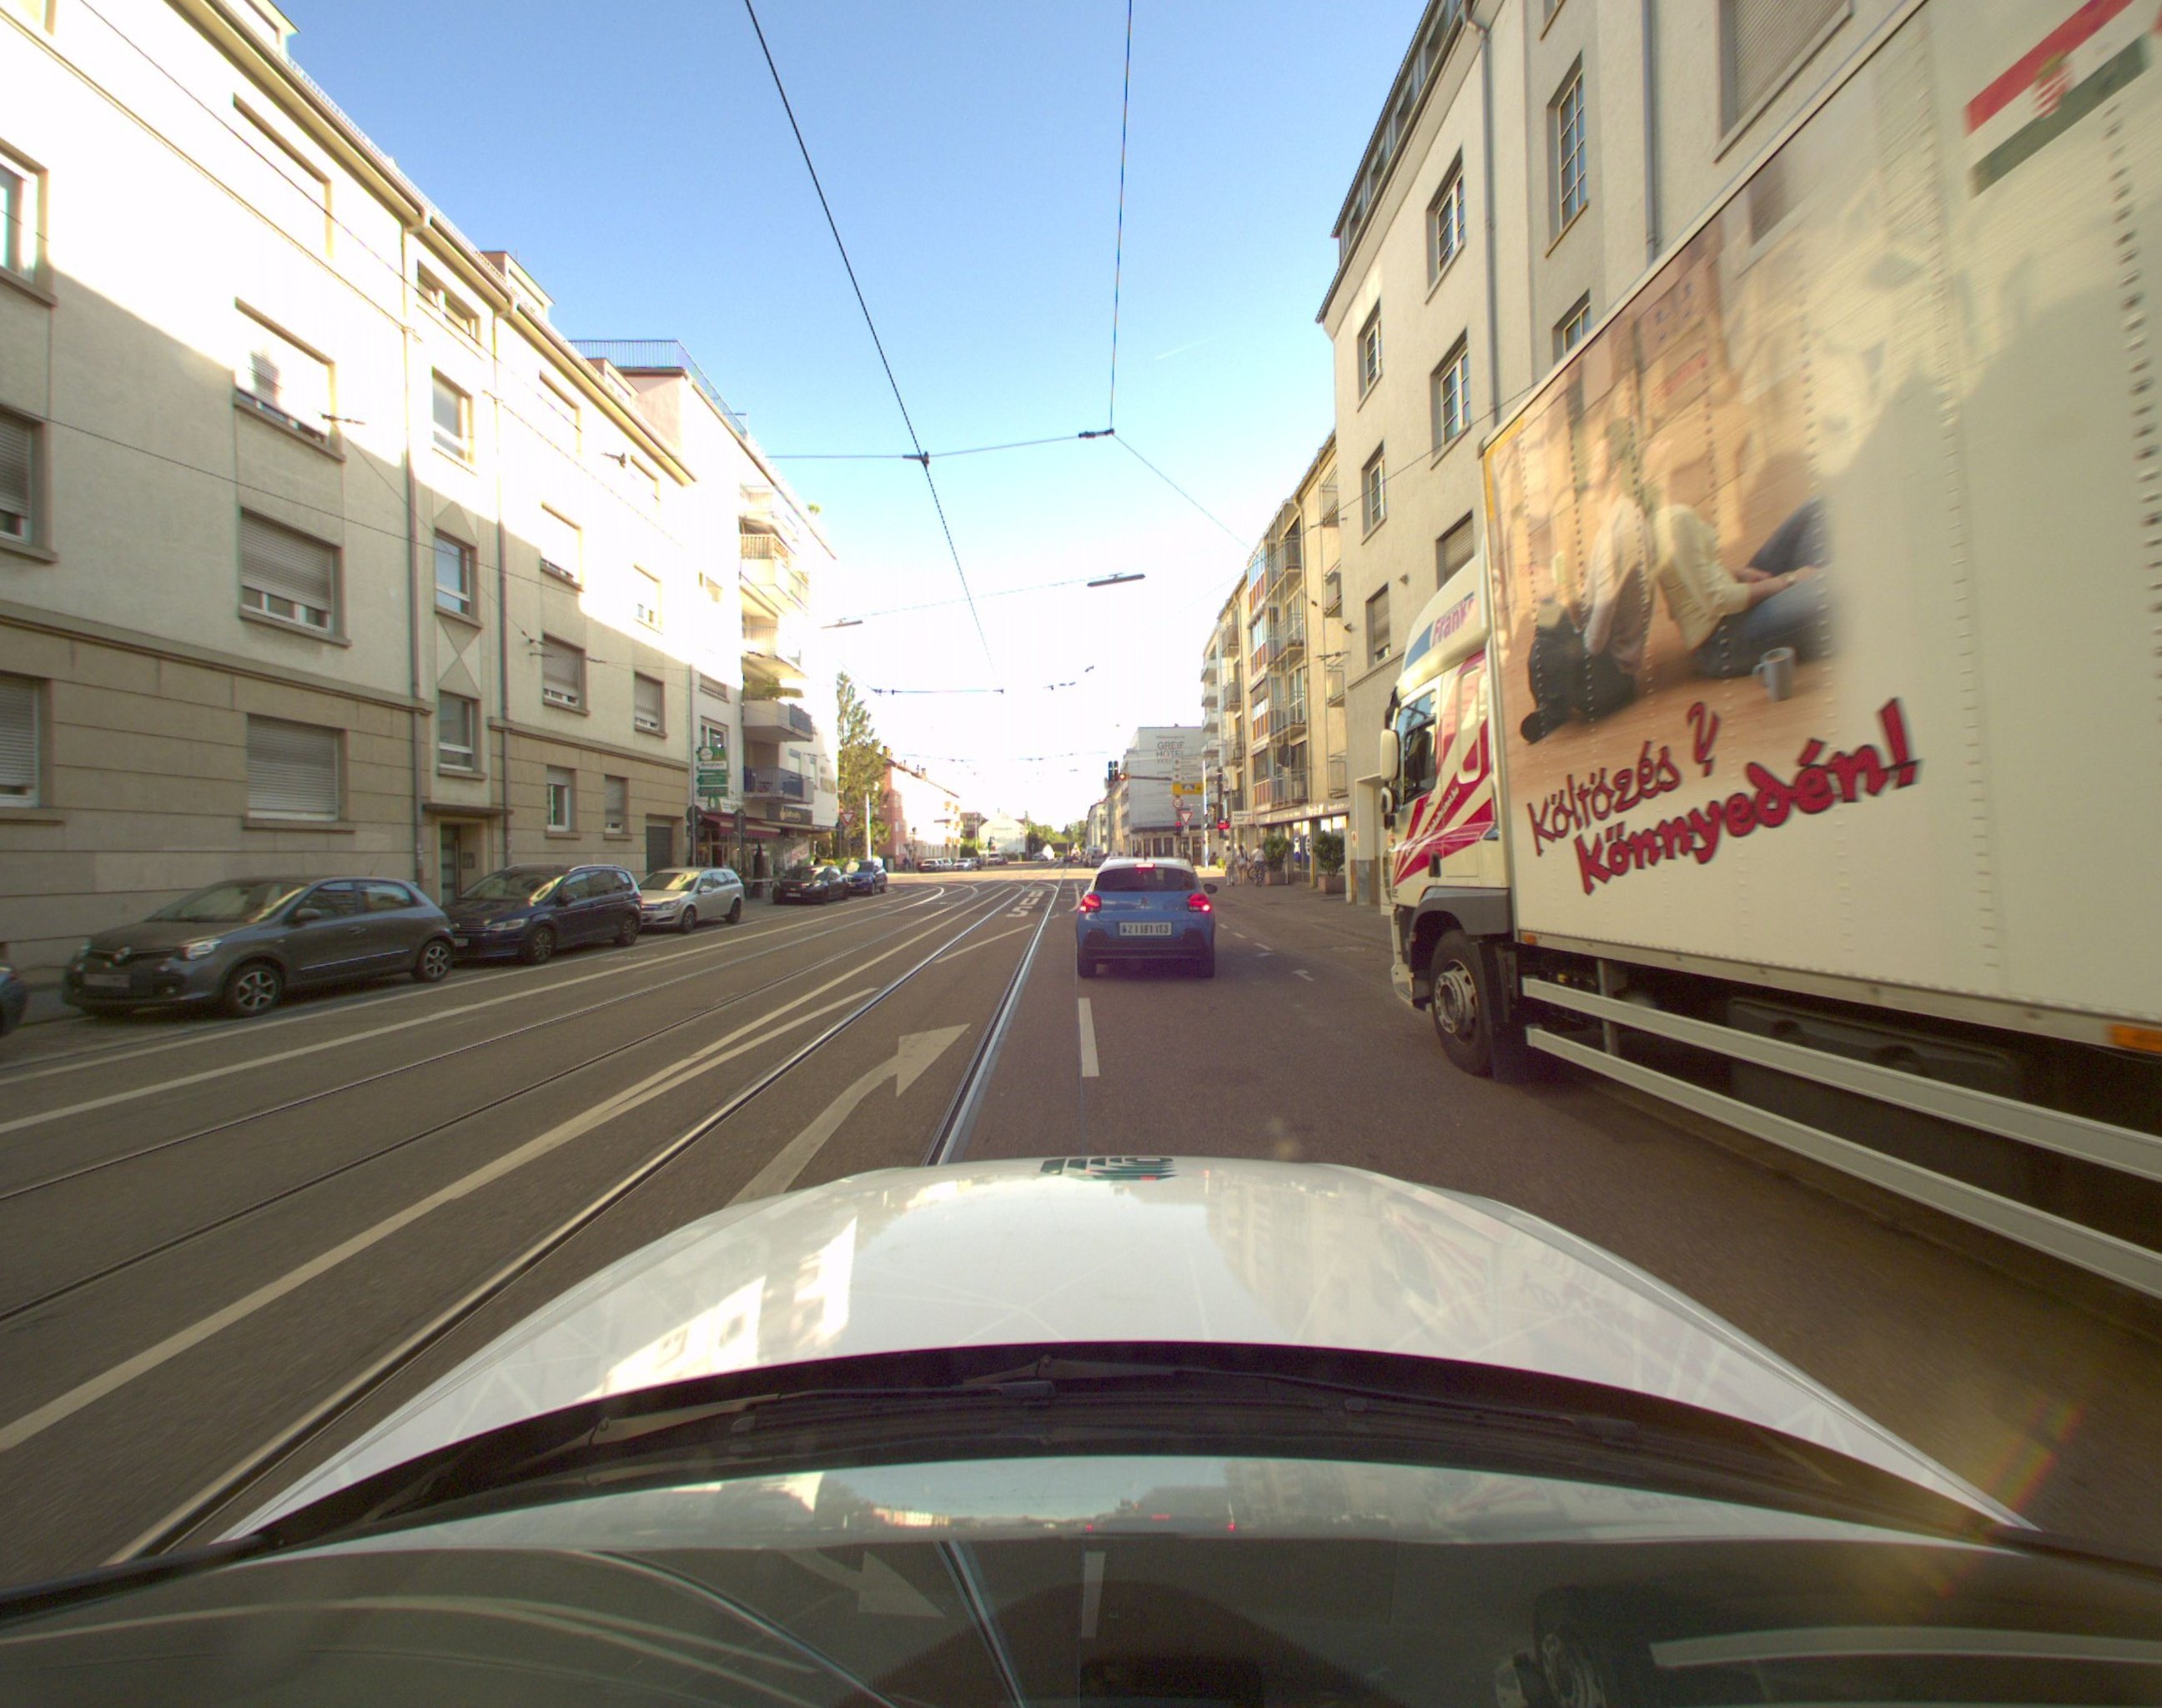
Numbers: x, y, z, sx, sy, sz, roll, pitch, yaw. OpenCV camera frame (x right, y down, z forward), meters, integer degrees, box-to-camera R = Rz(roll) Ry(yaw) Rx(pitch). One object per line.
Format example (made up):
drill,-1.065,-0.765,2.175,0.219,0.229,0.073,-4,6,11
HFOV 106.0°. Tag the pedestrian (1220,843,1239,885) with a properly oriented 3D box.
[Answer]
pedestrian,6.001,0.401,32.926,0.539,1.672,0.624,-3,1,0

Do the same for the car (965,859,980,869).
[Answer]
car,-16.963,1.519,127.440,1.906,1.497,3.997,-2,0,-2

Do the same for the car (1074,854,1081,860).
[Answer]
car,-1.167,0.844,256.743,1.986,1.794,4.003,-1,0,2

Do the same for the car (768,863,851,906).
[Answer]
car,-10.132,1.103,30.743,1.694,1.509,4.311,0,-1,0

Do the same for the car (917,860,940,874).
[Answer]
car,-16.822,1.442,90.139,1.907,1.433,3.996,-2,0,-3

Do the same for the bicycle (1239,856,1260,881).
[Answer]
bicycle,7.521,0.622,36.369,0.528,1.072,1.810,-2,0,-1

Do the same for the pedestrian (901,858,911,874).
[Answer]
pedestrian,-18.965,1.263,88.157,0.839,1.690,0.738,-1,0,5

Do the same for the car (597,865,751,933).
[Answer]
car,-9.964,1.029,20.358,1.694,1.509,4.384,0,-1,-1

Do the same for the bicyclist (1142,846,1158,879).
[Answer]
bicyclist,3.454,0.424,40.687,0.723,1.646,0.790,-2,0,2

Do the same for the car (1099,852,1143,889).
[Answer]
car,1.665,0.654,34.098,1.731,1.420,4.003,-1,0,2

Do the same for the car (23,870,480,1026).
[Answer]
car,-9.995,1.005,10.375,1.694,1.569,3.999,0,-1,0

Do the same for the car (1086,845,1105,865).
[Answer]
car,1.659,0.128,93.094,1.987,2.325,3.998,0,0,-1

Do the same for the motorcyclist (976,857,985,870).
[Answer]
motorcyclist,-10.903,1.036,88.220,0.716,1.378,0.912,-2,0,3

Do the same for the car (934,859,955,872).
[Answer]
car,-16.852,1.451,100.504,1.906,1.497,3.997,-2,0,-2

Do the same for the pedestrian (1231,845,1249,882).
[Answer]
pedestrian,6.749,0.390,34.562,0.539,1.507,0.611,-3,1,0

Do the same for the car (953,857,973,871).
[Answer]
car,-14.049,1.229,97.081,1.844,1.574,4.399,-1,0,-1

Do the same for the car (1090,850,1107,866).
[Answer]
car,1.874,0.441,88.162,1.727,1.750,3.212,0,0,-1

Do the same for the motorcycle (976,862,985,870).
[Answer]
motorcycle,-10.899,1.324,88.374,0.613,0.864,1.672,-2,0,3

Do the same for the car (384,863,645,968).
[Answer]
car,-9.840,0.968,14.633,1.694,1.615,4.242,0,-1,0

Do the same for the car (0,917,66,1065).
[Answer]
car,-9.950,1.156,5.401,1.695,1.216,3.783,0,-1,-2

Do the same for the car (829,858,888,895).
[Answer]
car,-9.960,0.975,36.755,1.740,1.509,3.995,0,0,-3

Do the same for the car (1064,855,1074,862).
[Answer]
car,-2.214,0.886,149.374,1.752,1.259,3.826,-1,0,-4

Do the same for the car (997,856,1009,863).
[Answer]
car,-15.902,1.099,166.103,2.016,1.525,3.998,-1,0,-1

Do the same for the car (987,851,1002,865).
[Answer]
car,-14.874,0.654,140.566,2.201,2.251,4.674,-2,0,-1

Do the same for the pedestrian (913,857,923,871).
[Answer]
pedestrian,-18.904,1.159,94.489,0.839,1.690,0.738,-1,0,5

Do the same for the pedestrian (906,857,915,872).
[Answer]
pedestrian,-19.784,1.166,94.411,0.839,1.690,0.738,-1,0,5

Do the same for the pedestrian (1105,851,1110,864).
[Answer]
pedestrian,3.573,0.475,110.754,0.706,1.709,0.748,-1,0,2

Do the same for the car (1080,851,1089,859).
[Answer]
car,0.723,0.207,152.301,1.683,1.618,3.999,0,0,0

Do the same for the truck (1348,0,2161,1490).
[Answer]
truck,3.782,-0.653,1.342,2.850,4.073,11.779,-2,0,1

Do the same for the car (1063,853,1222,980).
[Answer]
car,0.680,0.727,11.460,1.740,1.462,3.996,0,0,-3

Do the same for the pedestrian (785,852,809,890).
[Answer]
pedestrian,-11.791,0.692,33.807,0.694,1.548,0.722,-1,0,2

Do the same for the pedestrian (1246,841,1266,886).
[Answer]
pedestrian,6.687,0.361,31.125,0.539,1.672,0.650,-3,0,0

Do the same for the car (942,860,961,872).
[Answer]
car,-16.995,1.554,107.299,1.906,1.497,3.997,-2,0,-2

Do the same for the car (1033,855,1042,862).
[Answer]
car,-10.211,1.094,190.616,2.016,1.525,3.998,-1,0,-1

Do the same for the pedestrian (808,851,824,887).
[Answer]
pedestrian,-15.172,0.863,46.617,0.685,2.013,0.485,-1,0,-4
